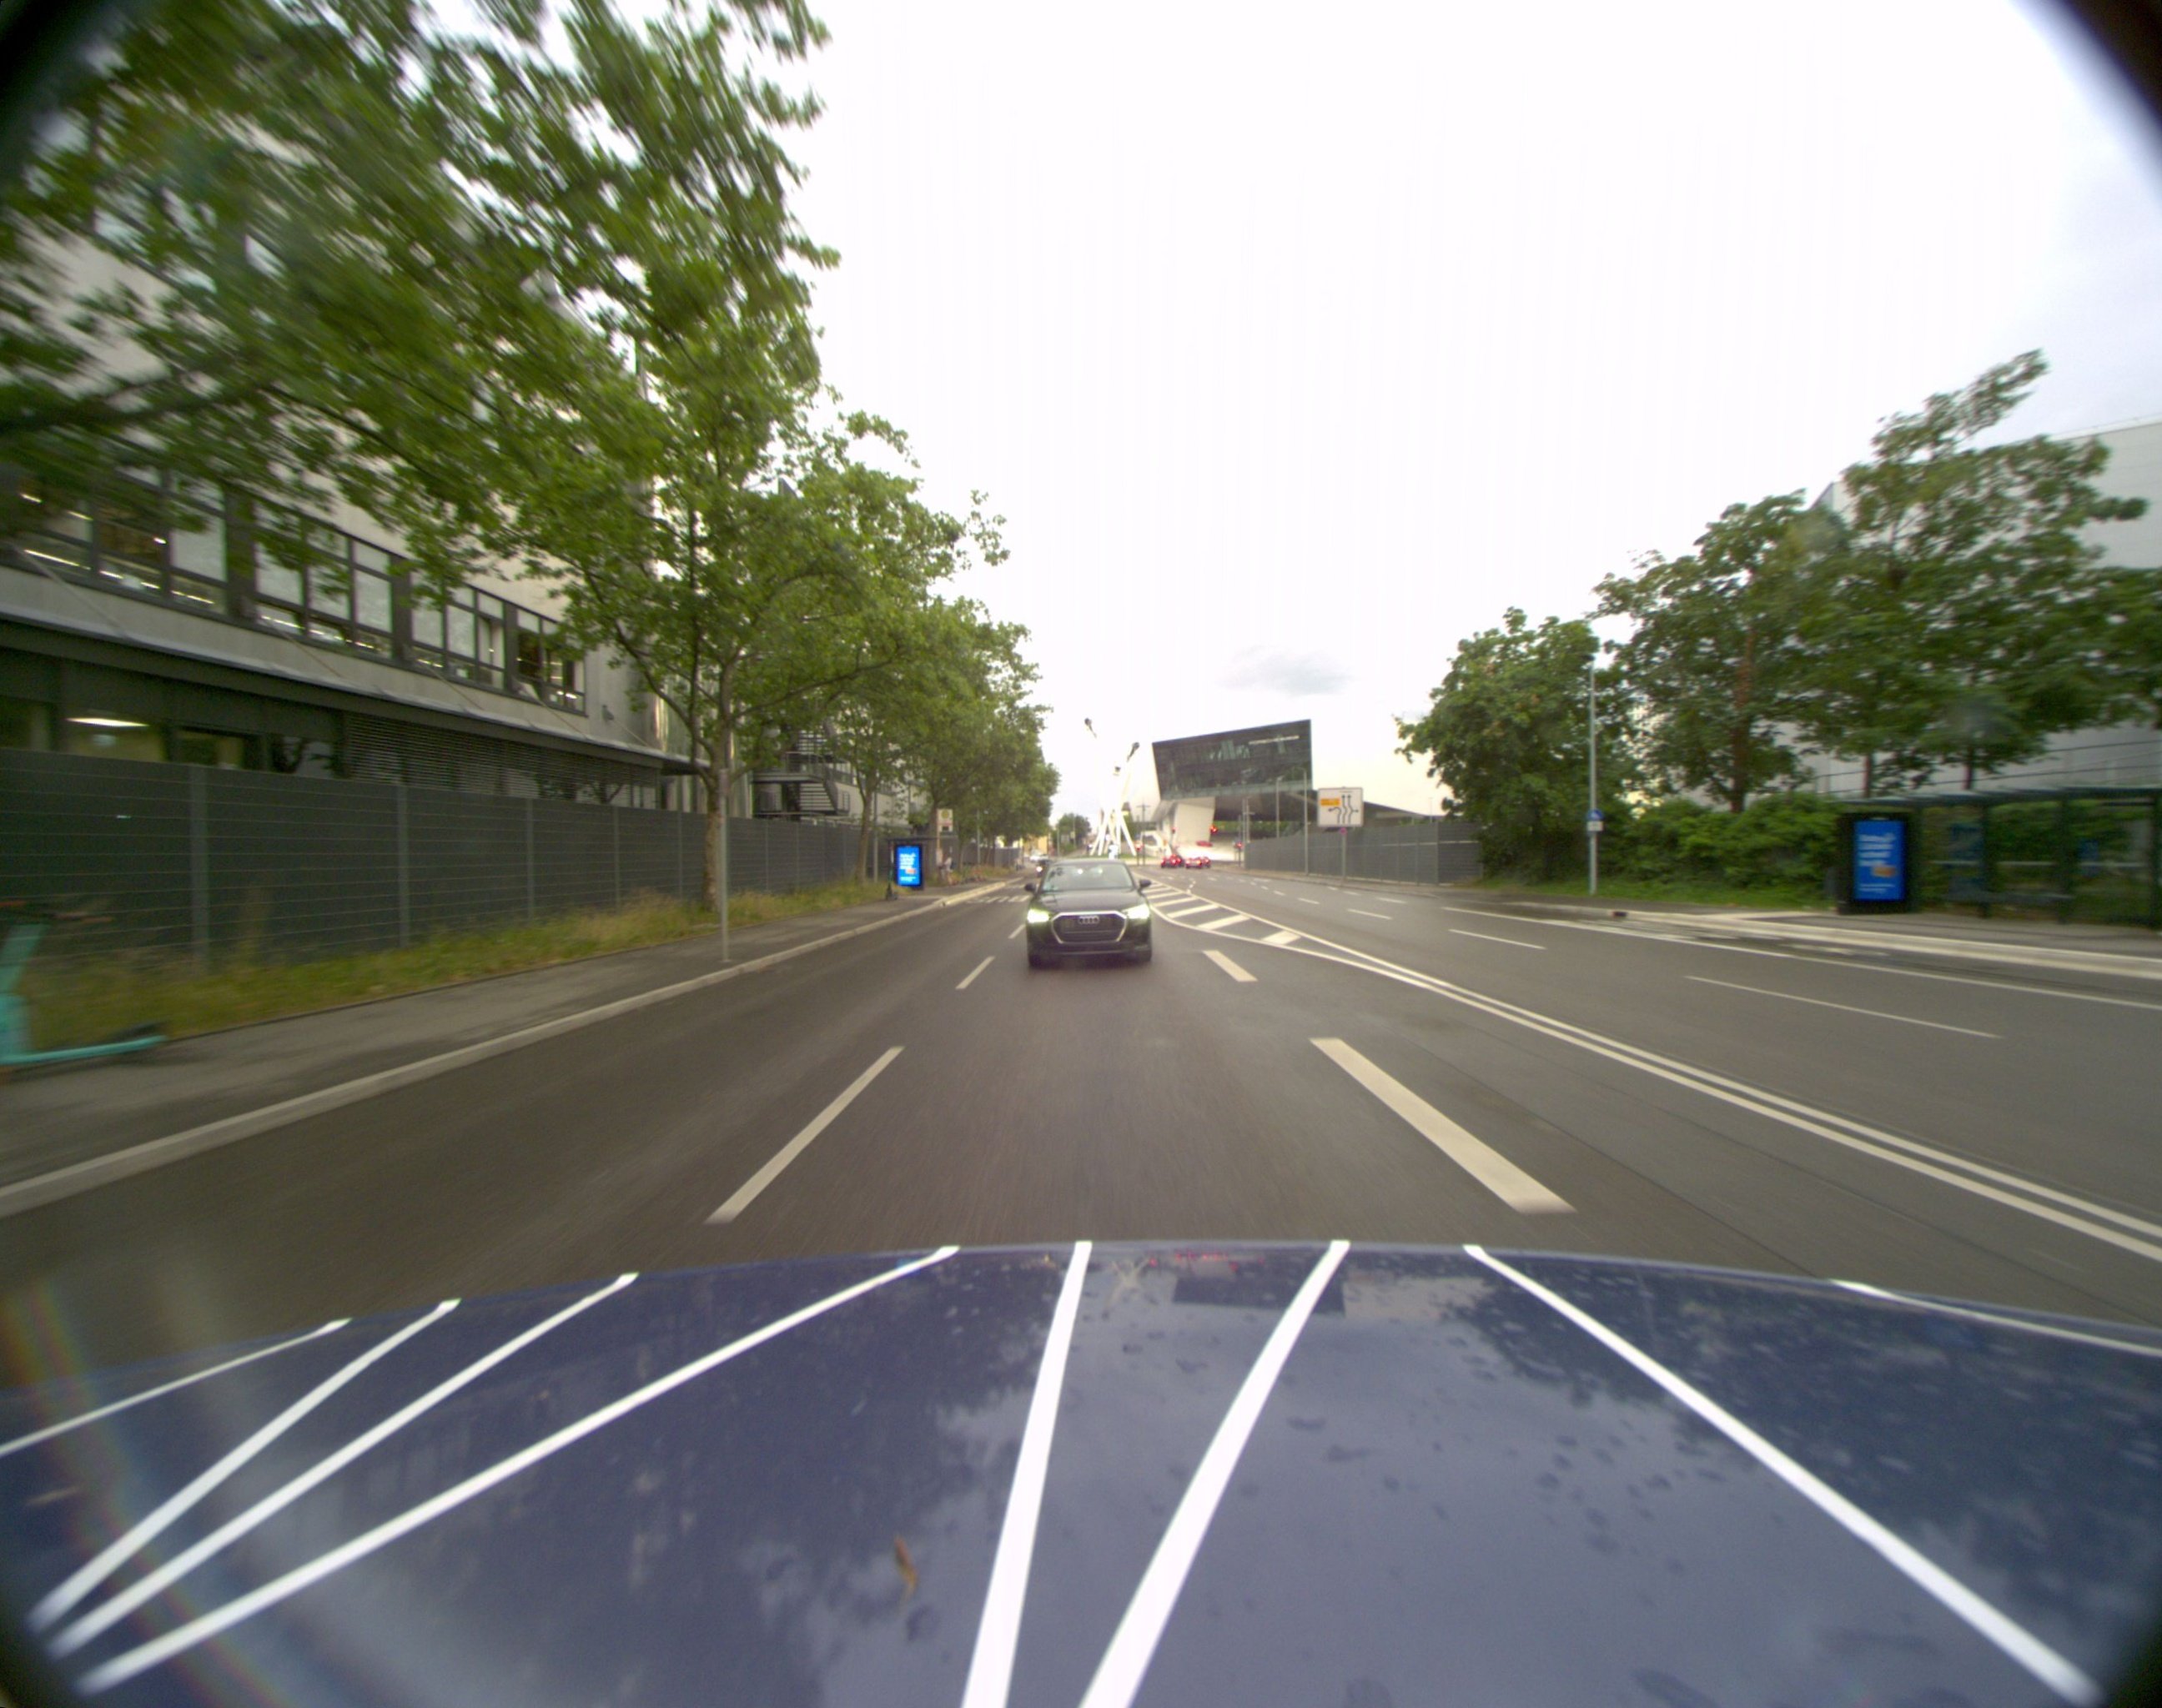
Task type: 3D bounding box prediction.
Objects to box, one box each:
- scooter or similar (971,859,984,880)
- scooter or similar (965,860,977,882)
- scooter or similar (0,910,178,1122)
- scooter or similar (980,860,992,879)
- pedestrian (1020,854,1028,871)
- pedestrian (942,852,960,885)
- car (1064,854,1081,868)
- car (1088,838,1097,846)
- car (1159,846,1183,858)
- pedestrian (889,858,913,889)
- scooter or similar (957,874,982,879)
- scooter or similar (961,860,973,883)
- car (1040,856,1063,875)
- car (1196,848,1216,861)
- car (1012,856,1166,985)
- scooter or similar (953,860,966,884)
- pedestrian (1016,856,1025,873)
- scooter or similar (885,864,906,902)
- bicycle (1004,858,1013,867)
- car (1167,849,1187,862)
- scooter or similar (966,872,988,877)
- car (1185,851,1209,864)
[{"bbox_3d":[-6.480,0.980,47.704,0.437,1.288,1.368,-1,1,8],"label":"scooter or similar"},{"bbox_3d":[-6.609,0.987,45.793,0.437,1.288,1.301,-1,1,4],"label":"scooter or similar"},{"bbox_3d":[-6.918,1.051,5.069,0.329,1.262,1.109,0,1,10],"label":"scooter or similar"},{"bbox_3d":[-6.461,1.065,51.596,0.437,1.277,1.301,-1,1,8],"label":"scooter or similar"},{"bbox_3d":[-5.748,0.860,76.523,0.723,1.657,0.833,2,1,0],"label":"pedestrian"},{"bbox_3d":[-6.800,0.761,39.791,0.778,1.700,0.729,-1,1,0],"label":"pedestrian"},{"bbox_3d":[-0.935,0.730,84.789,1.842,1.444,4.785,-2,0,-1],"label":"car"},{"bbox_3d":[2.456,-2.581,162.201,1.951,1.610,4.073,0,0,-1],"label":"car"},{"bbox_3d":[11.233,-0.218,94.322,2.255,1.469,3.884,0,0,18],"label":"car"},{"bbox_3d":[-8.430,0.915,35.685,0.932,1.408,0.698,-1,1,0],"label":"pedestrian"},{"bbox_3d":[-7.340,1.482,50.110,1.098,0.343,1.260,0,0,24],"label":"scooter or similar"},{"bbox_3d":[-6.535,0.989,43.610,0.437,1.288,1.301,-1,1,4],"label":"scooter or similar"},{"bbox_3d":[-2.420,0.928,62.188,1.881,1.485,4.075,0,0,-3],"label":"car"},{"bbox_3d":[16.408,0.055,99.401,1.861,1.641,3.793,0,0,20],"label":"car"},{"bbox_3d":[0.074,0.876,12.514,1.951,1.609,5.276,-2,0,-1],"label":"car"},{"bbox_3d":[-6.730,0.969,42.078,0.437,1.288,1.301,-1,1,4],"label":"scooter or similar"},{"bbox_3d":[-5.884,1.022,73.694,0.723,1.610,0.833,2,1,0],"label":"pedestrian"},{"bbox_3d":[-6.664,1.041,27.378,0.329,1.301,1.246,-1,1,5],"label":"scooter or similar"},{"bbox_3d":[-7.680,0.869,80.158,0.727,0.870,1.904,-2,1,0],"label":"bicycle"},{"bbox_3d":[12.601,0.187,99.640,1.878,1.641,3.857,0,0,17],"label":"car"},{"bbox_3d":[-7.204,1.427,52.778,1.184,0.309,1.200,-1,0,-27],"label":"scooter or similar"},{"bbox_3d":[14.111,0.427,92.444,2.267,1.469,4.053,0,0,18],"label":"car"}]
